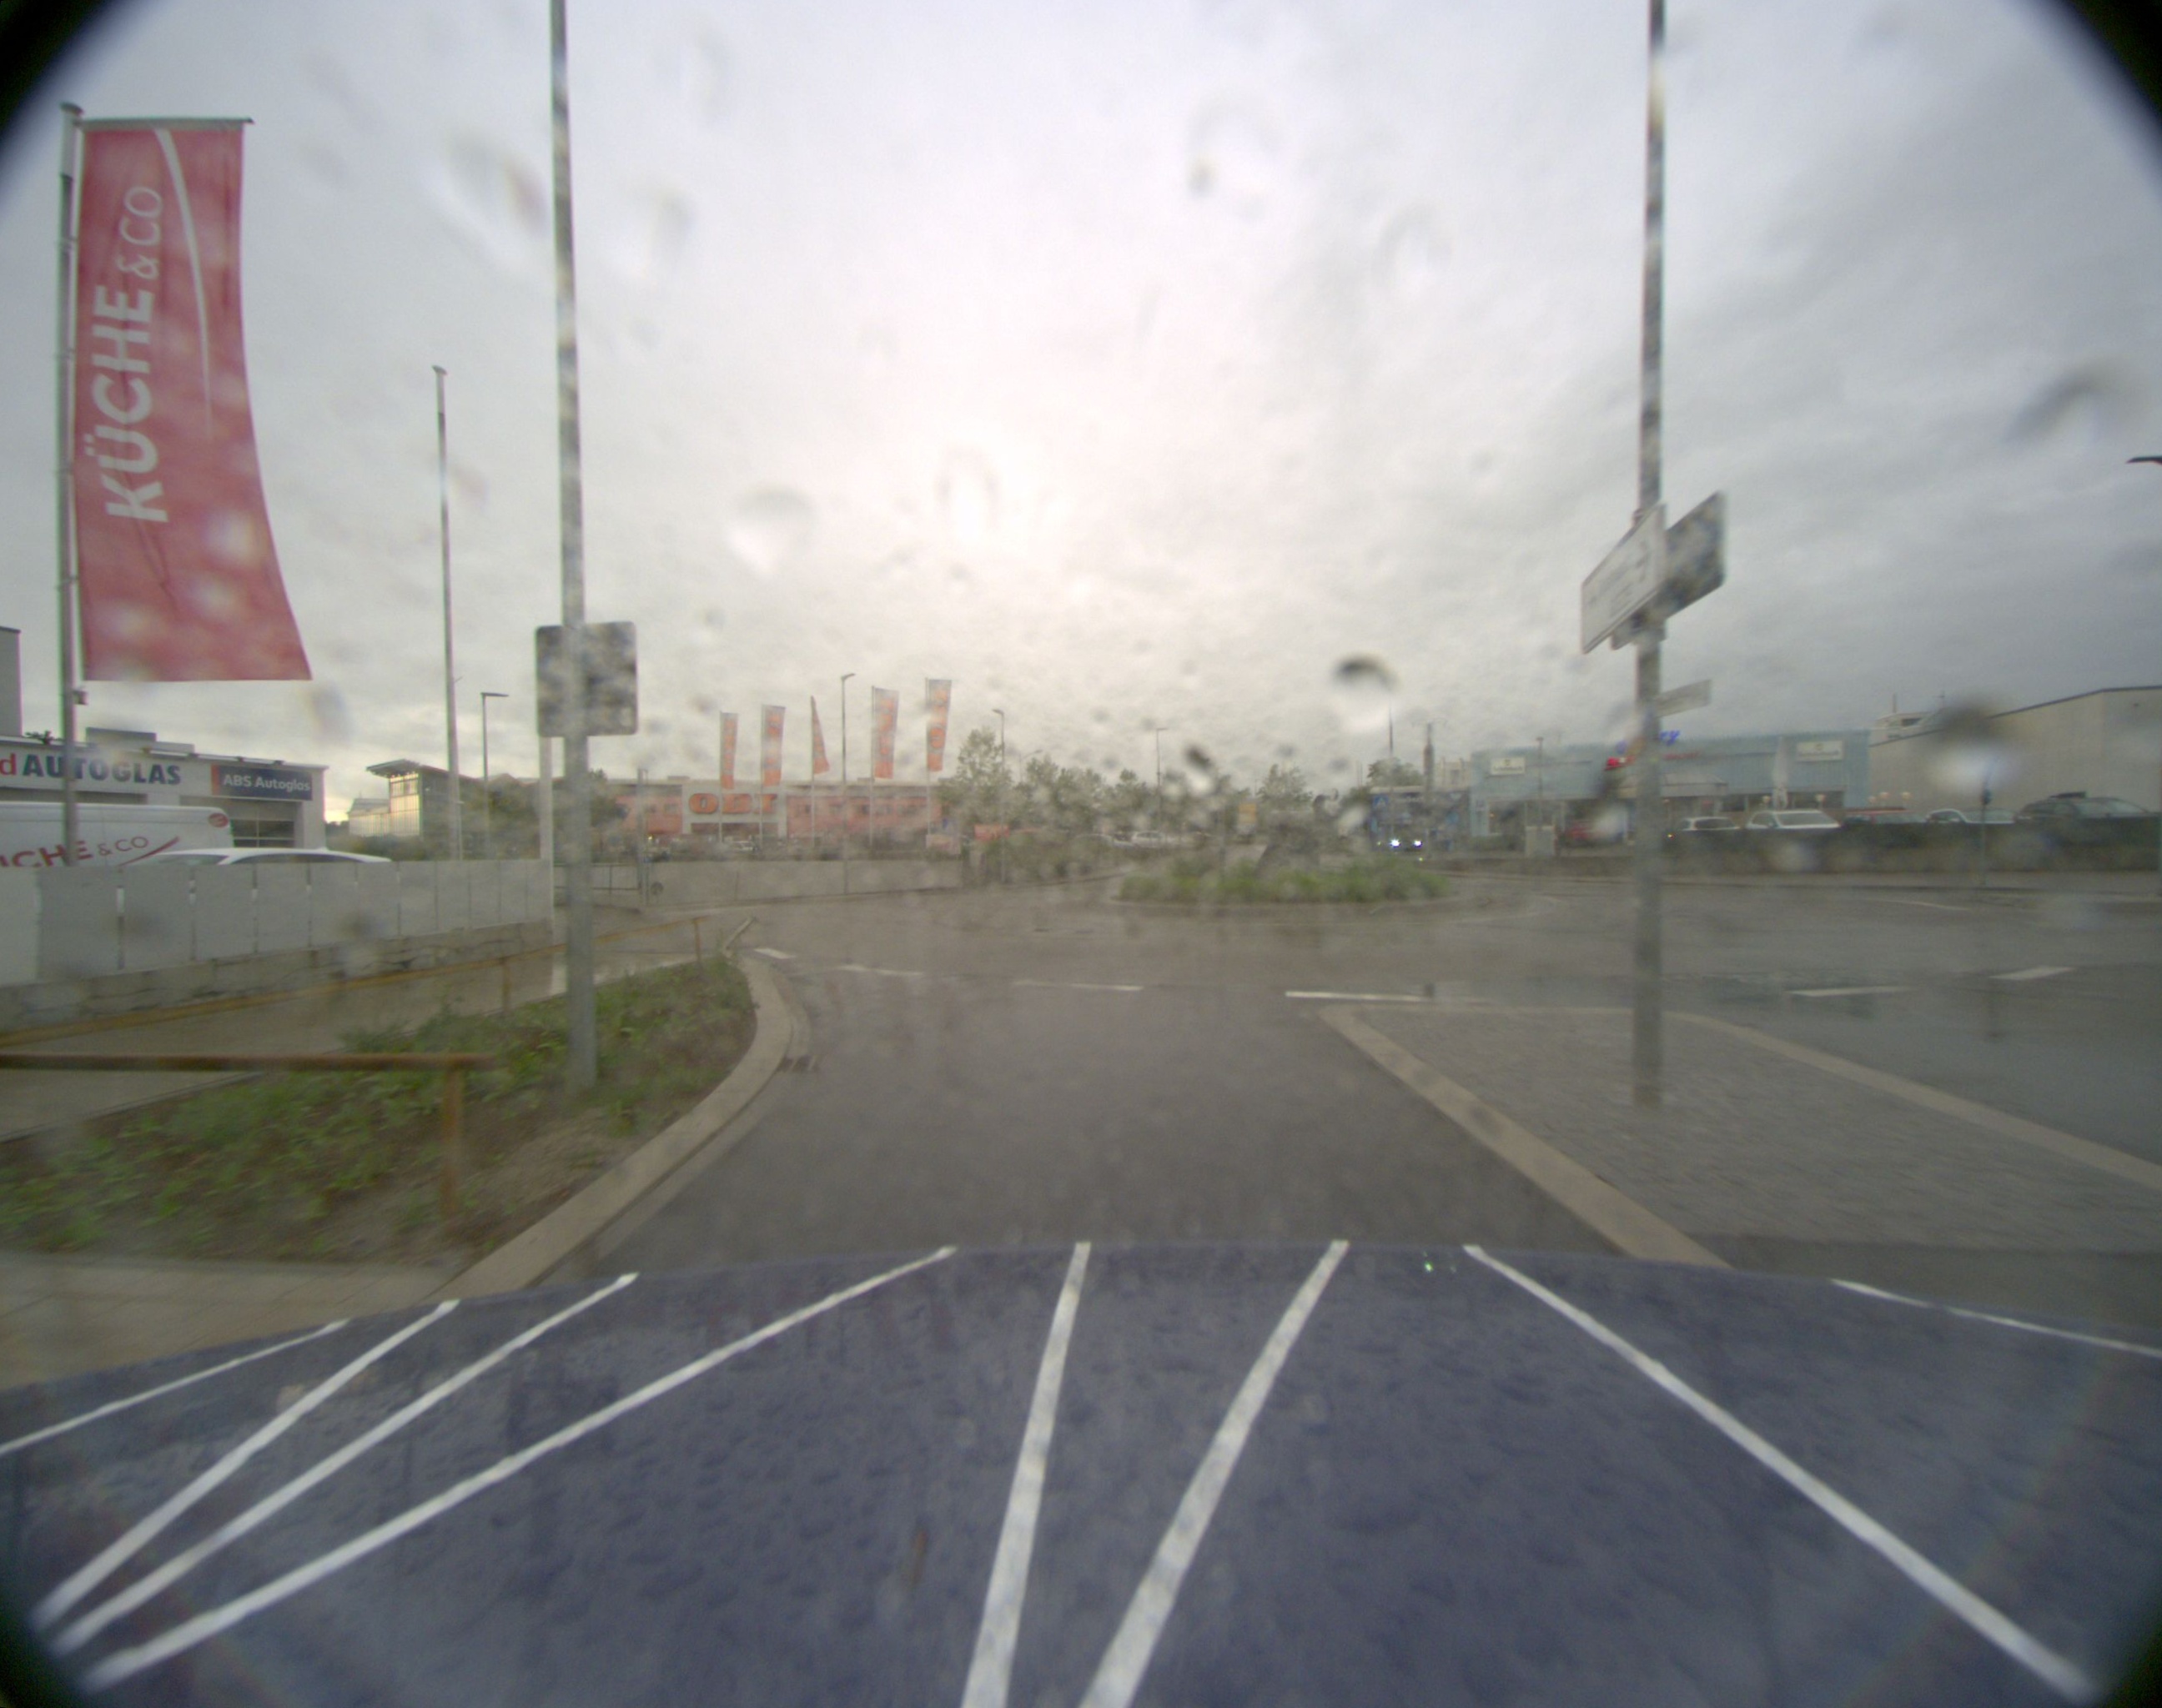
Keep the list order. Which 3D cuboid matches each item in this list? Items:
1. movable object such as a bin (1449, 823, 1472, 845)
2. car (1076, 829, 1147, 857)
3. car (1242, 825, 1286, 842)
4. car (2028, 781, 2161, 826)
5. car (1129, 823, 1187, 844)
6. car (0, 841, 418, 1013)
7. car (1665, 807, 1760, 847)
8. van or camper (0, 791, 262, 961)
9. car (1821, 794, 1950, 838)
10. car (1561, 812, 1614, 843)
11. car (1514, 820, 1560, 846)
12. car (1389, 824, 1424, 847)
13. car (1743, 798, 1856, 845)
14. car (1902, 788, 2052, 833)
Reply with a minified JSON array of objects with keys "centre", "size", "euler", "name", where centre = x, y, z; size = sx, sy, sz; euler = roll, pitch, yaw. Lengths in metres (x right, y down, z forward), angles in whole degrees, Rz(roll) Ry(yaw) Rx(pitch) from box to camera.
[{"centre":[24.285,-1.273,48.658],"size":[1.212,1.288,1.481],"euler":[-4,0,27],"name":"movable object such as a bin"},{"centre":[1.986,-0.675,49.247],"size":[4.095,1.696,2.004],"euler":[-1,0,30],"name":"car"},{"centre":[18.682,-2.080,77.433],"size":[3.990,1.587,2.003],"euler":[-1,0,27],"name":"car"},{"centre":[33.466,-1.618,24.645],"size":[1.883,1.288,4.006],"euler":[-4,0,27],"name":"car"},{"centre":[5.941,-1.549,58.535],"size":[3.990,1.433,2.003],"euler":[-1,0,27],"name":"car"},{"centre":[-11.205,0.724,9.491],"size":[1.844,1.681,4.173],"euler":[-1,0,8],"name":"car"},{"centre":[23.996,-1.008,29.035],"size":[1.883,1.288,4.006],"euler":[-4,0,27],"name":"car"},{"centre":[-17.034,0.340,11.893],"size":[2.125,2.525,5.272],"euler":[-1,0,22],"name":"van or camper"},{"centre":[28.617,-1.315,27.208],"size":[1.883,1.288,4.006],"euler":[-4,0,27],"name":"car"},{"centre":[27.821,-1.436,41.836],"size":[1.883,1.477,4.006],"euler":[-4,0,27],"name":"car"},{"centre":[25.474,-1.178,42.551],"size":[1.883,1.288,4.006],"euler":[-4,0,27],"name":"car"},{"centre":[23.723,-1.350,55.323],"size":[1.916,1.521,4.007],"euler":[-3,0,29],"name":"car"},{"centre":[26.695,-1.163,28.399],"size":[1.790,1.543,4.006],"euler":[-1,1,23],"name":"car"},{"centre":[30.644,-1.436,26.165],"size":[1.883,1.288,4.006],"euler":[-4,0,27],"name":"car"}]
